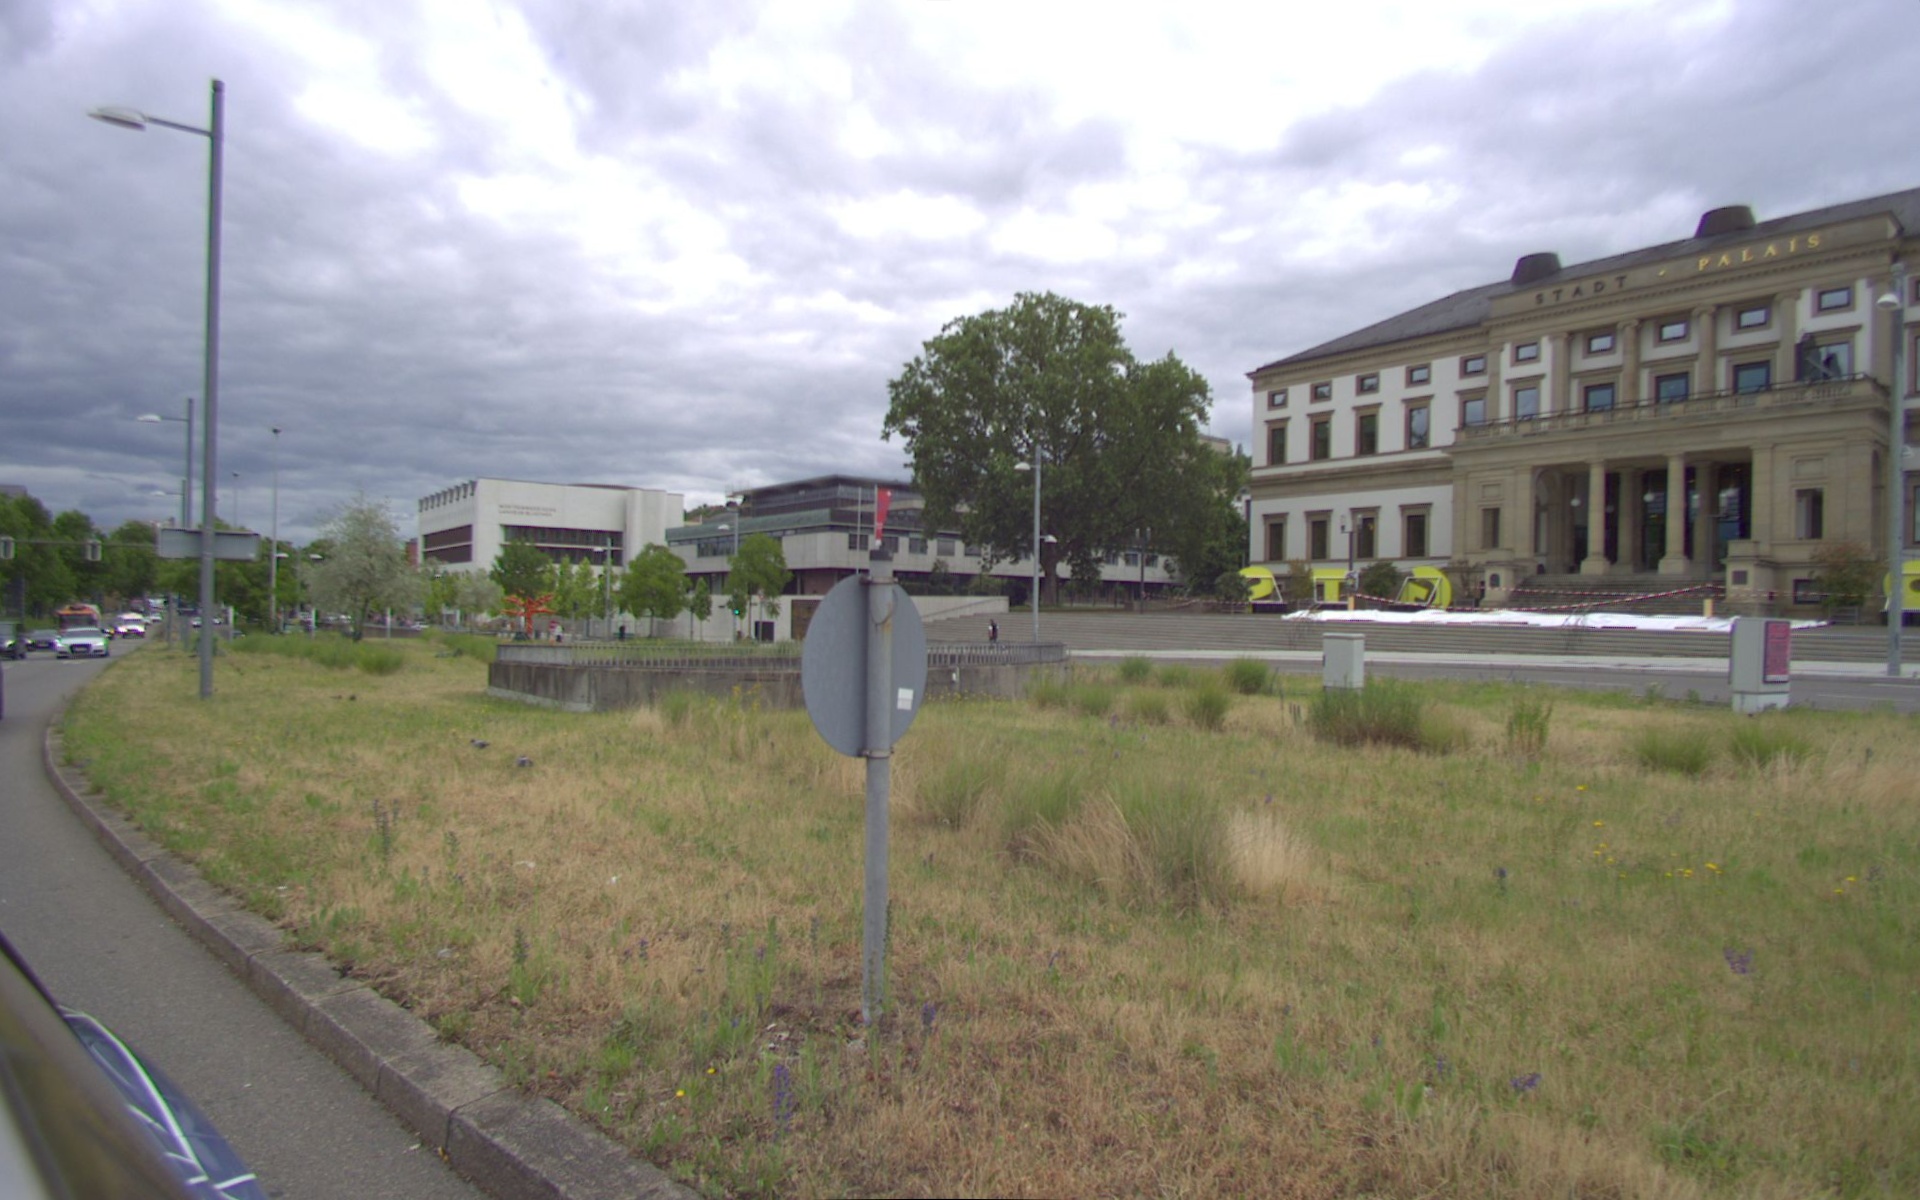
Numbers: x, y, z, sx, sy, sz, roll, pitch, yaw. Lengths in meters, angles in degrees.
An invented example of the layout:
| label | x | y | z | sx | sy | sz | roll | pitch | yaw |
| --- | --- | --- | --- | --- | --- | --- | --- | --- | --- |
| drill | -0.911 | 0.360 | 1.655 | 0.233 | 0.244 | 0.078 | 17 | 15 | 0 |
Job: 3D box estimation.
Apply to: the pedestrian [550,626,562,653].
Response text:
| label | x | y | z | sx | sy | sz | roll | pitch | yaw |
| --- | --- | --- | --- | --- | --- | --- | --- | --- | --- |
| pedestrian | -26.672 | 2.611 | 66.826 | 0.533 | 1.747 | 0.665 | 0 | -2 | -38 |

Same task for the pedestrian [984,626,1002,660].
| label | x | y | z | sx | sy | sz | roll | pitch | yaw |
| --- | --- | --- | --- | --- | --- | --- | --- | --- | --- |
| pedestrian | 1.637 | 2.114 | 50.258 | 0.517 | 1.661 | 0.652 | -1 | -1 | -39 |

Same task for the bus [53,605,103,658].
| label | x | y | z | sx | sy | sz | roll | pitch | yaw |
| --- | --- | --- | --- | --- | --- | --- | --- | --- | --- |
| bus | -76.956 | 2.719 | 88.414 | 2.997 | 4.386 | 8.766 | 0 | -1 | -39 |

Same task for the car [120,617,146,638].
| label | x | y | z | sx | sy | sz | roll | pitch | yaw |
| --- | --- | --- | --- | --- | --- | --- | --- | --- | --- |
| car | -90.531 | 3.047 | 110.843 | 1.967 | 2.245 | 4.009 | 0 | -1 | -36 |

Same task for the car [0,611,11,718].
| label | x | y | z | sx | sy | sz | roll | pitch | yaw |
| --- | --- | --- | --- | --- | --- | --- | --- | --- | --- |
| car | -15.250 | 1.019 | 14.535 | 1.908 | 1.690 | 4.689 | -1 | 0 | -38 |

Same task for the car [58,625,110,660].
| label | x | y | z | sx | sy | sz | roll | pitch | yaw |
| --- | --- | --- | --- | --- | --- | --- | --- | --- | --- |
| car | -42.641 | 2.033 | 49.251 | 1.736 | 1.559 | 4.003 | 0 | -1 | -44 |

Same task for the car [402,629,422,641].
| label | x | y | z | sx | sy | sz | roll | pitch | yaw |
| --- | --- | --- | --- | --- | --- | --- | --- | --- | --- |
| car | -74.871 | 4.785 | 138.250 | 1.696 | 1.586 | 4.622 | 0 | -2 | -37 |
